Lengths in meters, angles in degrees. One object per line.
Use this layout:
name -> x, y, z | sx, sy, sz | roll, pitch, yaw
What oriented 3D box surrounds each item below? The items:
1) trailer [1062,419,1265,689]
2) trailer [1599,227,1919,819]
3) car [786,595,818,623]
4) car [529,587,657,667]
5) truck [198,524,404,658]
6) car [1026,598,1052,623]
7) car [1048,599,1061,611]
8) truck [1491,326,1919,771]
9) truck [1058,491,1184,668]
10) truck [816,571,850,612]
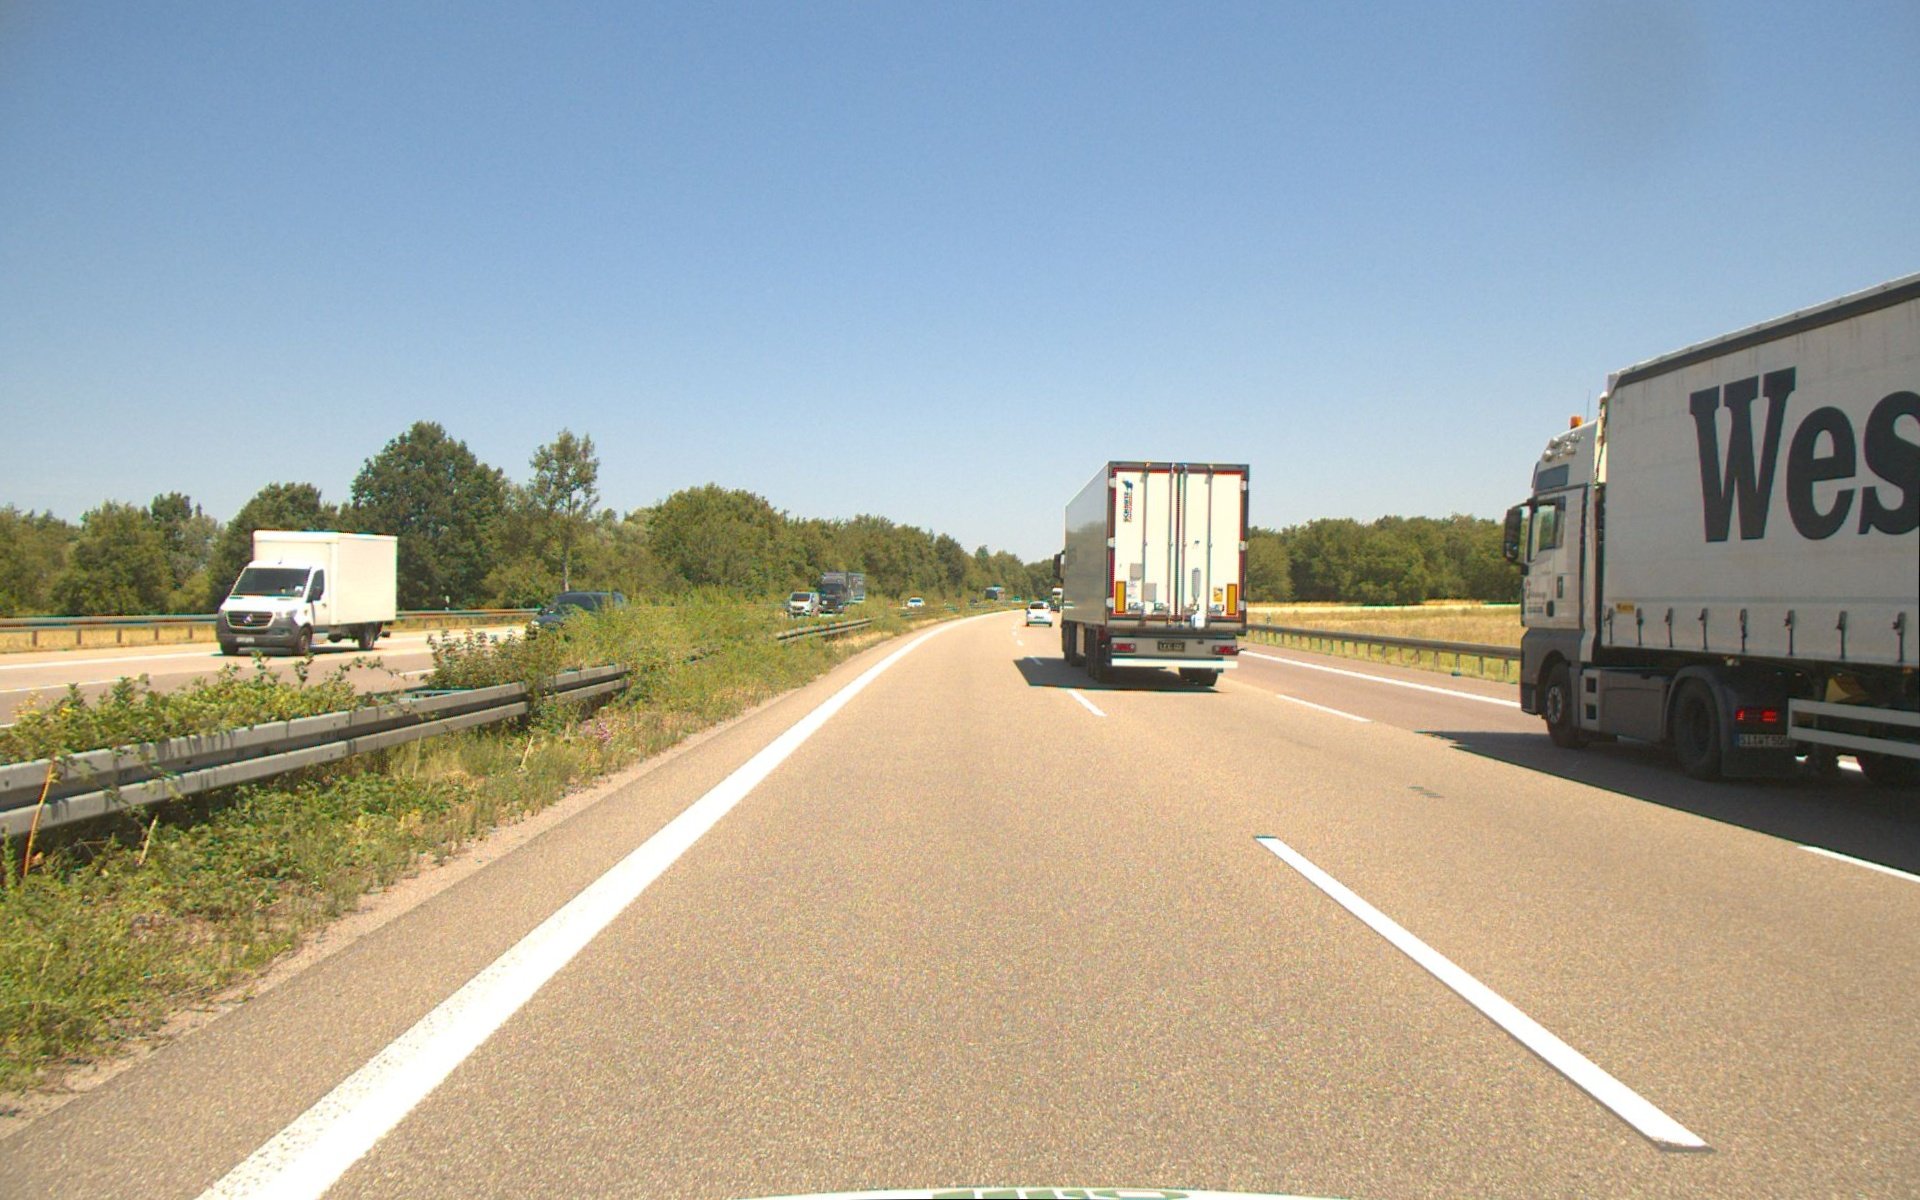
trailer -> 4.044, -0.829, 36.380 | 2.841, 4.738, 13.987 | 1, 0, 1
trailer -> 8.280, -0.558, 11.074 | 2.543, 4.326, 13.637 | 1, -1, -1
car -> -12.316, 0.707, 129.032 | 2.016, 2.107, 5.408 | 0, 0, -1
car -> -8.584, 0.606, 39.149 | 1.953, 1.758, 5.202 | 0, 0, -1
truck -> -16.723, -0.208, 42.498 | 2.401, 3.153, 6.990 | 0, 0, 1
car -> 5.000, 0.675, 104.884 | 1.593, 1.505, 4.002 | 0, 0, 3
car -> 11.894, 0.663, 208.654 | 1.593, 1.505, 4.002 | 0, 0, 4
truck -> 8.169, -0.504, 18.803 | 2.547, 4.330, 5.088 | 1, 0, -1
truck -> 4.127, -0.501, 43.422 | 2.848, 4.330, 4.975 | 1, 0, 1
truck -> -12.385, -0.810, 161.690 | 2.833, 3.984, 4.002 | 0, 0, 3
